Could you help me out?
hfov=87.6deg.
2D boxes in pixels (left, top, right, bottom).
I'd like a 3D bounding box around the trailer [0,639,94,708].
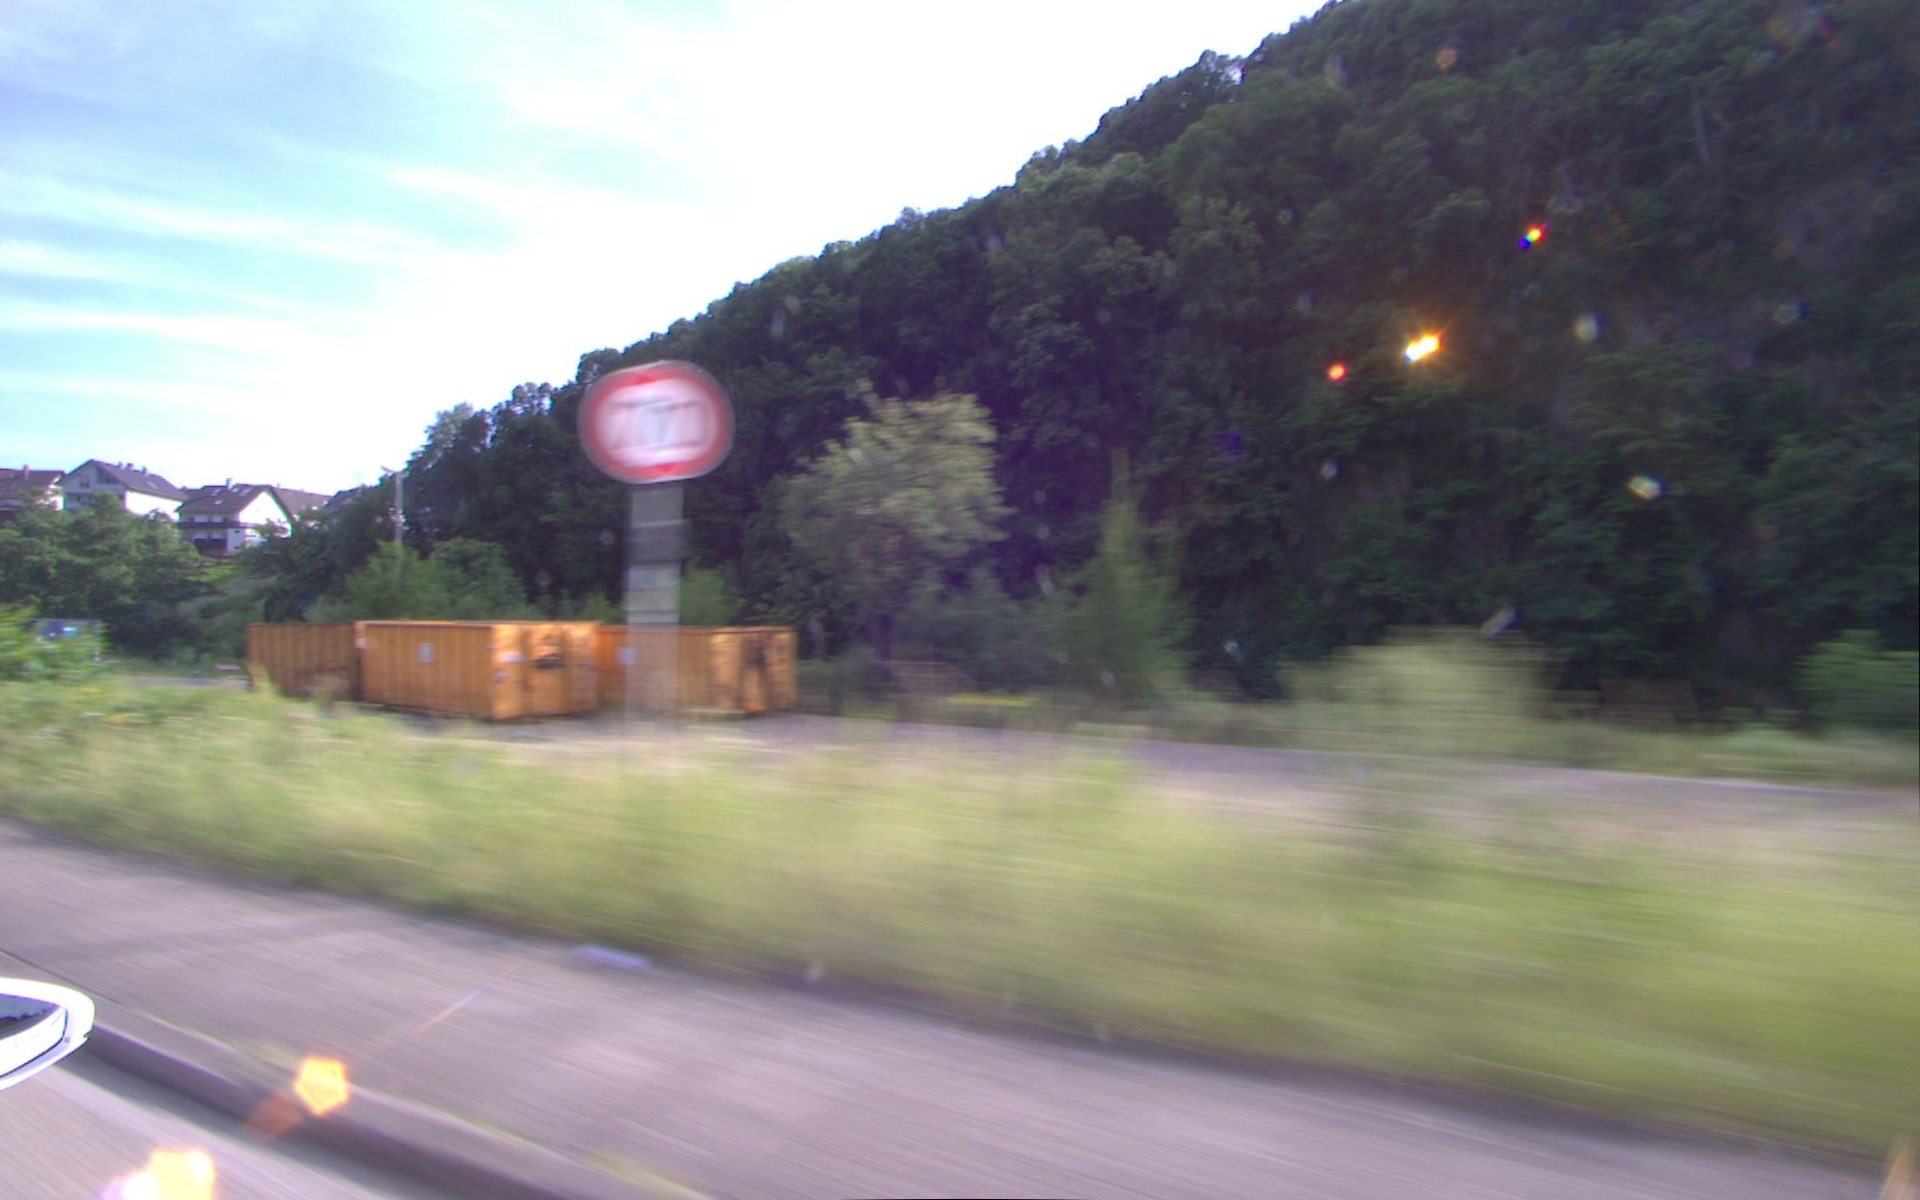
[{"bbox_3d":[-24.971,1.617,24.179,9.733,1.491,2.793,0,-5,28],"label":"trailer"}]
